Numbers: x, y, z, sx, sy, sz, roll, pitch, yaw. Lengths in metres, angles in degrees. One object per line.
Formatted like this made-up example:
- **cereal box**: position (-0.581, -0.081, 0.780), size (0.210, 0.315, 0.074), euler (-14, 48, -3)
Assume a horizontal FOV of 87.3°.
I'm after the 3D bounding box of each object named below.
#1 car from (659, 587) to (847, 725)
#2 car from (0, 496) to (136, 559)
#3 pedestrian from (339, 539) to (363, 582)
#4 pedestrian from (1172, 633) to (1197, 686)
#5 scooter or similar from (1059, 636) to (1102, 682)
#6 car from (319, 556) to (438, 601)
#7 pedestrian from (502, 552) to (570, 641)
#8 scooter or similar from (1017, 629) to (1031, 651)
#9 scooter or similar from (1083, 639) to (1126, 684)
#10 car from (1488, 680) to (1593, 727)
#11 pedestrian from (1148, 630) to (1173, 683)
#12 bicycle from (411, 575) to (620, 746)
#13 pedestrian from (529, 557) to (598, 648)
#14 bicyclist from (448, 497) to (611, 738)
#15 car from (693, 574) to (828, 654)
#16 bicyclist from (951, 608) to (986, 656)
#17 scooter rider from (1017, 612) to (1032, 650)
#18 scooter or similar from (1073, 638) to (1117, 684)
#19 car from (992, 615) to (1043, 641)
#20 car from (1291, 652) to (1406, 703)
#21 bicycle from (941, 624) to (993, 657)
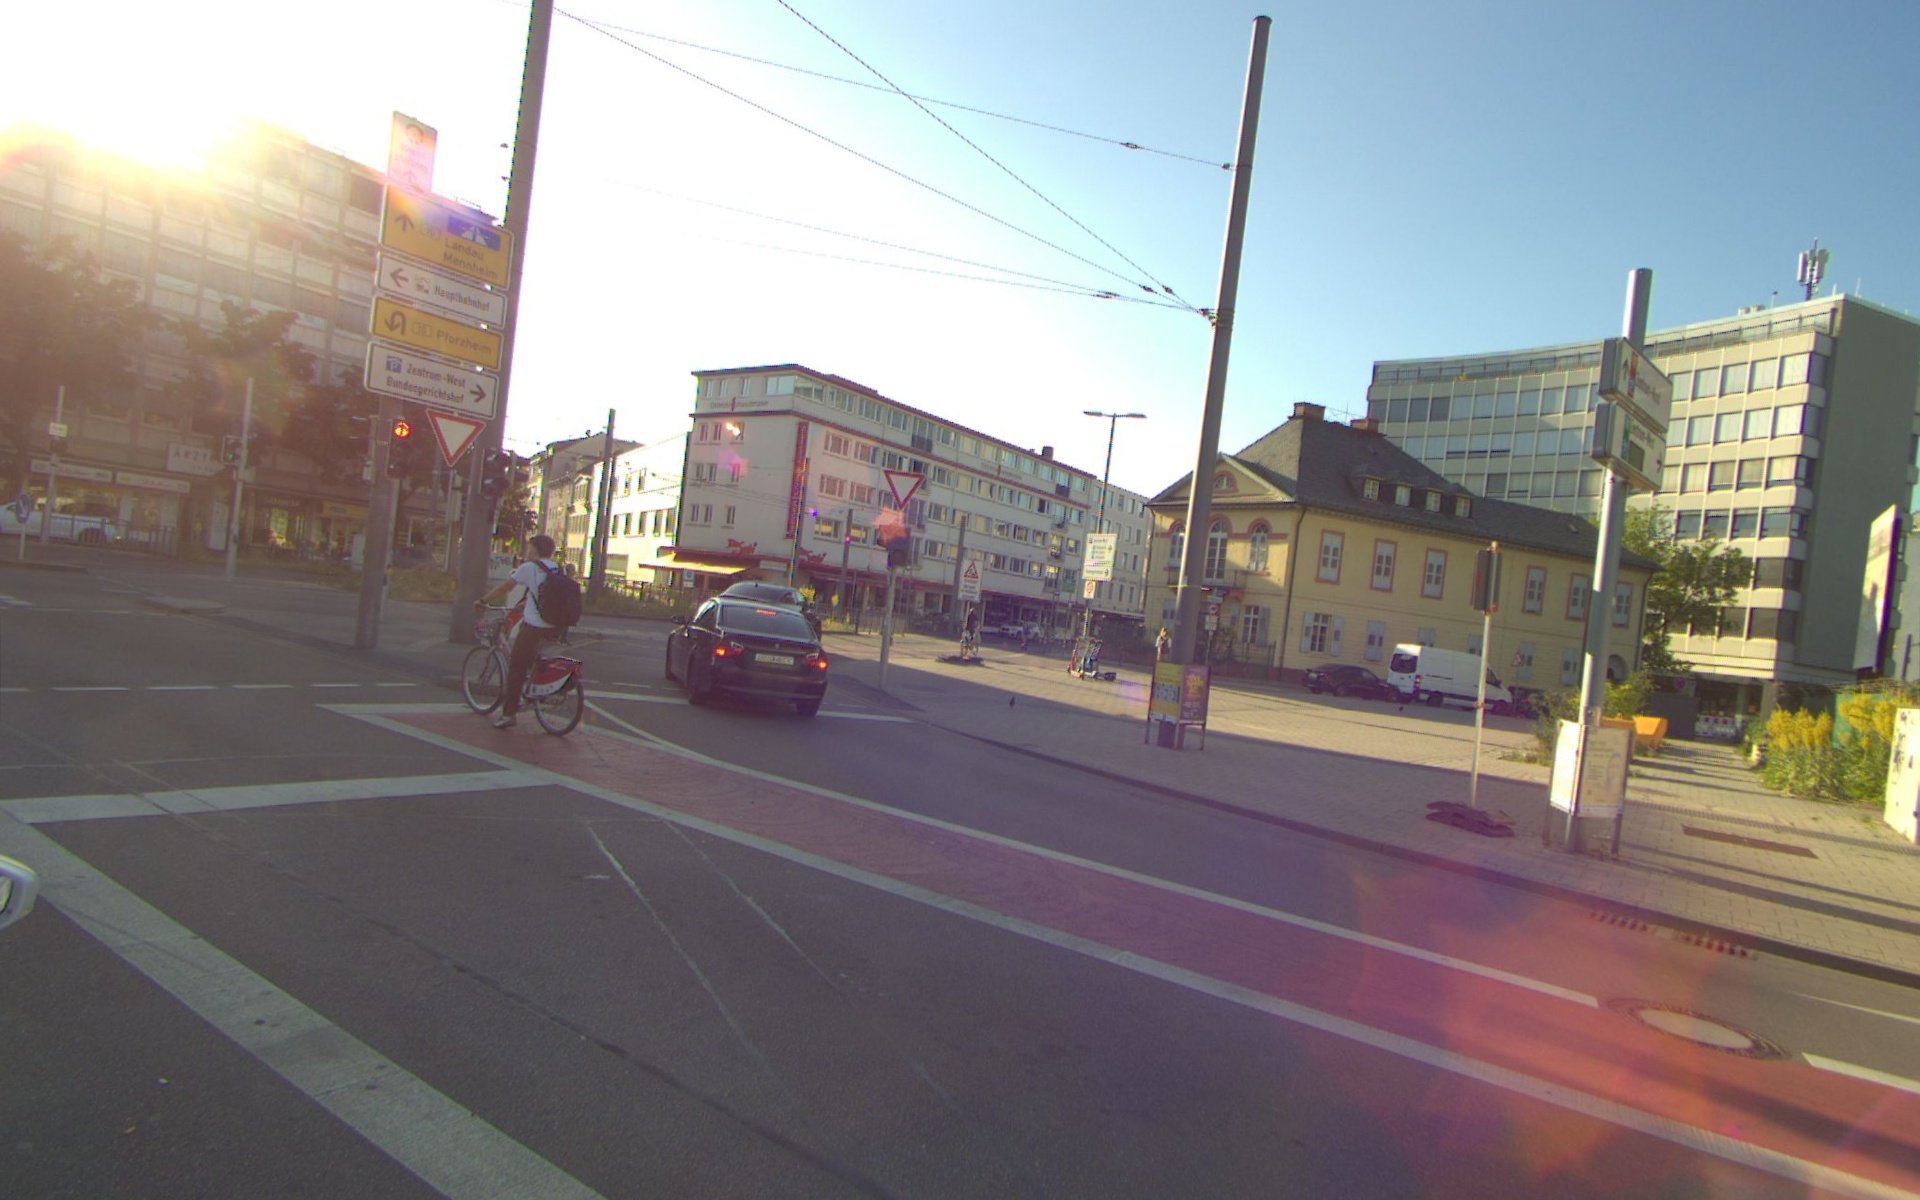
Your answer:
- **car**: position (-3.058, 0.688, 14.177), size (1.726, 1.443, 3.978), euler (7, -1, -23)
- **car**: position (-29.201, -2.390, 31.474), size (1.970, 1.496, 4.919), euler (7, -1, 37)
- **pedestrian**: position (-30.313, -1.947, 50.071), size (0.549, 2.038, 0.707), euler (7, 1, 35)
- **pedestrian**: position (8.210, 2.177, 36.741), size (0.587, 1.847, 0.728), euler (7, 1, 23)
- **scooter or similar**: position (3.762, 1.833, 31.493), size (0.563, 1.274, 1.334), euler (6, 0, -28)
- **car**: position (-25.431, -0.923, 44.106), size (1.969, 1.437, 3.989), euler (7, -1, 35)
- **pedestrian**: position (-8.278, -0.061, 19.661), size (0.644, 1.617, 0.879), euler (7, 1, 30)
- **scooter or similar**: position (3.378, 2.115, 53.200), size (0.485, 1.046, 1.386), euler (7, 0, -3)
- **scooter or similar**: position (4.651, 1.980, 32.359), size (0.563, 1.274, 1.334), euler (6, 0, -28)
- **car**: position (27.018, 4.805, 46.857), size (3.941, 1.593, 1.992), euler (7, 0, -18)
- **pedestrian**: position (7.381, 2.076, 37.043), size (0.587, 1.847, 0.728), euler (7, 1, 23)
- **bicycle**: position (-4.157, 0.535, 9.342), size (2.014, 1.237, 0.645), euler (9, 0, 33)
- **pedestrian**: position (-7.559, 0.057, 19.200), size (0.644, 1.617, 0.879), euler (7, 1, 30)
- **bicyclist**: position (-3.963, 0.154, 9.263), size (1.049, 2.037, 0.644), euler (9, 0, 33)
- **car**: position (-5.254, 0.452, 27.060), size (1.962, 1.713, 4.004), euler (8, -1, 12)
- **bicyclist**: position (0.314, 1.198, 37.389), size (0.680, 1.682, 0.959), euler (7, 0, 35)
- **scooter rider**: position (3.423, 1.655, 53.155), size (0.492, 1.943, 0.533), euler (7, 1, -3)
- **scooter or similar**: position (4.257, 1.911, 31.809), size (0.563, 1.274, 1.334), euler (6, 0, -28)
- **car**: position (4.799, 2.331, 83.038), size (1.971, 1.597, 4.307), euler (7, -1, 39)
- **car**: position (16.505, 3.300, 42.778), size (4.101, 1.593, 1.992), euler (7, 0, -18)
- **bicycle**: position (0.286, 1.529, 37.395), size (0.671, 1.039, 2.227), euler (7, -1, 35)
